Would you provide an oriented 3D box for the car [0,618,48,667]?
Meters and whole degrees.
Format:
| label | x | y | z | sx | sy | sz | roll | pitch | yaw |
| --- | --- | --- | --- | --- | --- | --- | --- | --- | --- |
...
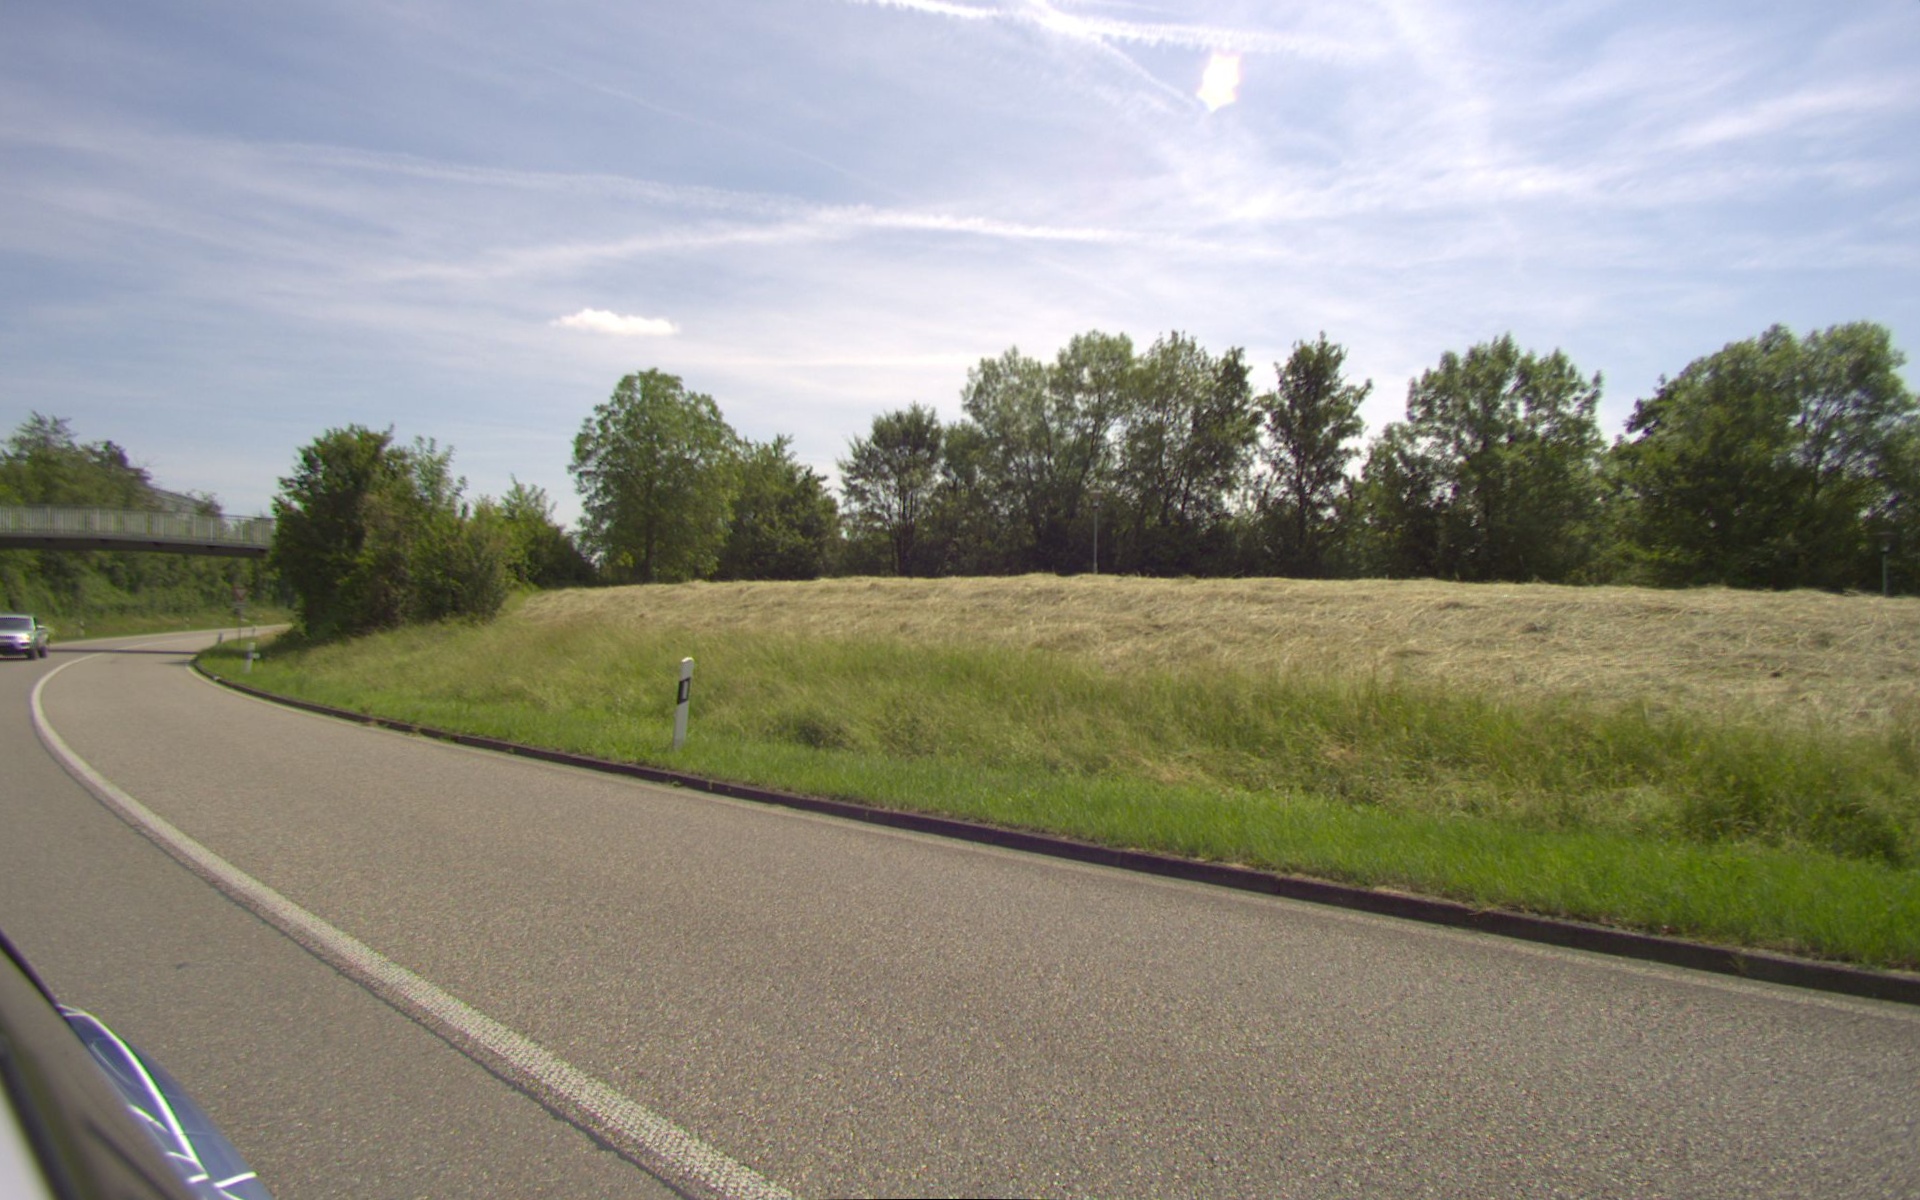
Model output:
| label | x | y | z | sx | sy | sz | roll | pitch | yaw |
| --- | --- | --- | --- | --- | --- | --- | --- | --- | --- |
| car | -36.048 | 1.569 | 38.279 | 1.820 | 1.721 | 4.099 | 1 | -1 | -35 |
